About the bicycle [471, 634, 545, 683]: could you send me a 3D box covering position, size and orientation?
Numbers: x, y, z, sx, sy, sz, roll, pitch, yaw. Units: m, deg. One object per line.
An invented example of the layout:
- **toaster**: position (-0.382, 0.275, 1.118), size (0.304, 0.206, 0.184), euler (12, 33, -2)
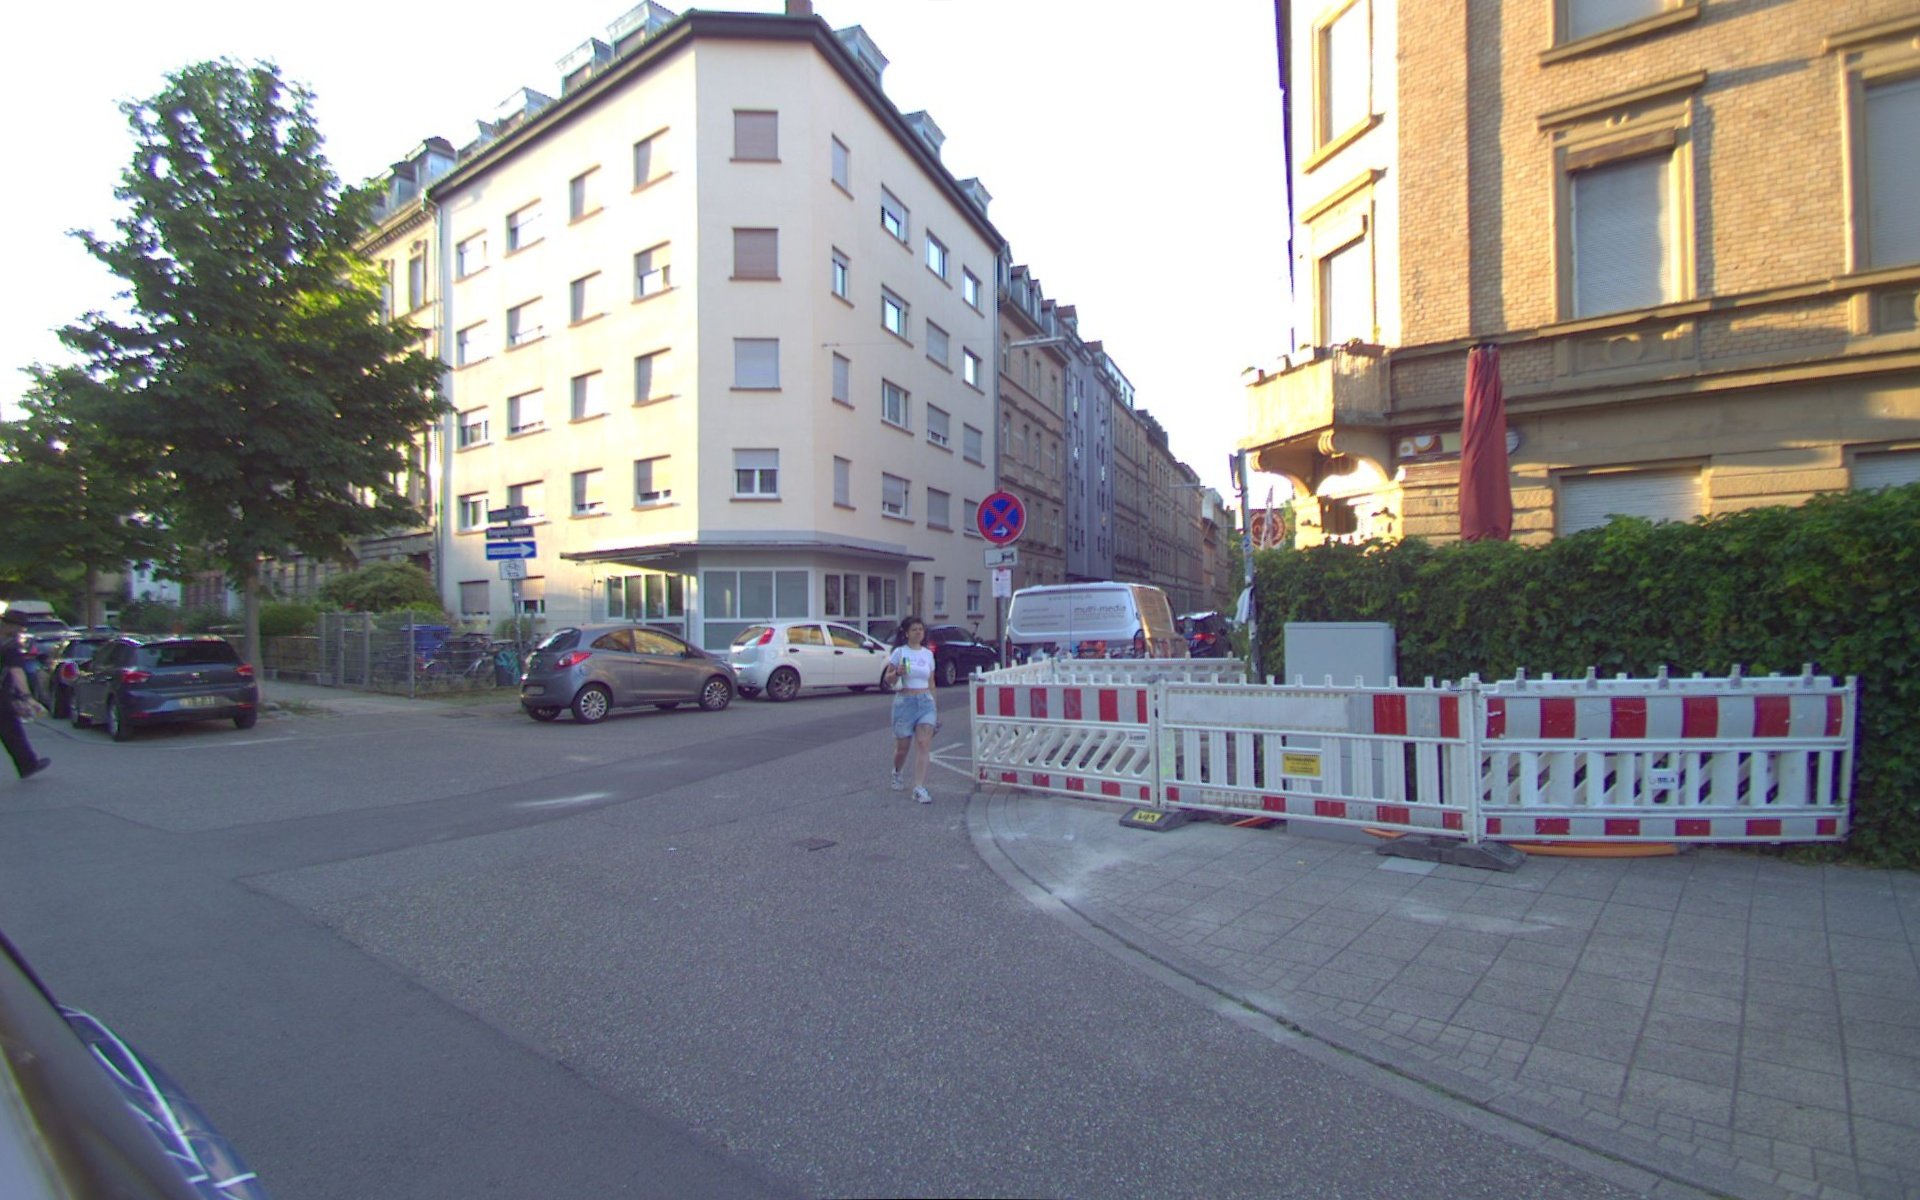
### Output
- **bicycle**: position (-10.639, 1.375, 23.845), size (1.528, 1.100, 0.500), euler (-1, 0, 3)

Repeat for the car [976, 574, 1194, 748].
- **car**: position (2.011, 0.773, 14.437), size (2.190, 1.990, 5.264), euler (-2, -2, 17)

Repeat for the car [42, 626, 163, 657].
- **car**: position (-42.077, 2.028, 49.710), size (1.625, 1.351, 4.356), euler (-2, -1, 41)

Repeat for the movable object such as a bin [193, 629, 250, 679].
- **movable object such as a bin**: position (-21.975, 1.582, 30.109), size (1.549, 1.398, 0.937), euler (-2, 0, 37)

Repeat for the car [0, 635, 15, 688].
- **car**: position (-28.852, 1.778, 29.247), size (4.020, 1.452, 1.711), euler (-1, -1, 39)

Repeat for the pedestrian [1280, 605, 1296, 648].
- **pedestrian**: position (14.046, 1.148, 43.330), size (0.589, 1.820, 0.495), euler (-2, 0, 18)

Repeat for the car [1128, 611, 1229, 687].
- **car**: position (5.067, 1.084, 23.128), size (2.005, 1.583, 3.898), euler (-1, -2, 16)

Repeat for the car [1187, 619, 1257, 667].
- **car**: position (8.480, 1.367, 32.546), size (1.830, 1.438, 3.973), euler (-2, -2, 20)

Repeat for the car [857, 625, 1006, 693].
- **car**: position (-0.570, 1.328, 23.897), size (1.986, 1.450, 4.046), euler (-2, -2, 23)

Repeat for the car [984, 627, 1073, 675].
- **car**: position (2.227, 1.584, 31.939), size (1.859, 1.419, 3.976), euler (-2, -2, 18)

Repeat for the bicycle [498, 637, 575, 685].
- **bicycle**: position (-10.152, 1.465, 24.265), size (1.689, 1.100, 0.384), euler (-1, 0, 4)

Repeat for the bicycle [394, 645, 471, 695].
- **bicycle**: position (-11.609, 1.520, 22.263), size (1.927, 1.033, 0.681), euler (-2, 0, 35)

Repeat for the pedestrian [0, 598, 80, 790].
- **pedestrian**: position (-9.116, 0.864, 9.486), size (0.881, 1.735, 0.956), euler (-1, 0, 8)

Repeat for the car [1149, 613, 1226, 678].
- **car**: position (6.274, 1.203, 27.633), size (1.572, 1.635, 3.973), euler (-2, -2, 20)

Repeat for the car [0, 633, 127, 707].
- **car**: position (-20.046, 1.456, 22.259), size (4.586, 1.423, 1.843), euler (-2, -1, 40)

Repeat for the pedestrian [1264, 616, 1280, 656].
- **pedestrian**: position (13.432, 1.531, 43.574), size (0.589, 1.699, 0.495), euler (-2, 0, 18)

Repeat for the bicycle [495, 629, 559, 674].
- **bicycle**: position (-11.531, 1.363, 27.001), size (0.499, 1.100, 1.531), euler (-2, 0, 34)

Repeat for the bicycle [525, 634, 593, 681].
- **bicycle**: position (-10.411, 1.474, 26.308), size (0.499, 1.100, 1.617), euler (-2, 0, 34)

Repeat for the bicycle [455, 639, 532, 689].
- **bicycle**: position (-10.750, 1.471, 23.332), size (1.528, 1.100, 0.500), euler (-1, 0, 3)

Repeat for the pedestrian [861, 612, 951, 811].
- **pedestrian**: position (-0.456, 0.929, 8.797), size (0.702, 1.630, 0.786), euler (-1, 0, 0)

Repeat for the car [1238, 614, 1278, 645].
- **car**: position (16.048, 1.567, 54.317), size (1.875, 1.569, 3.975), euler (-2, -2, 19)

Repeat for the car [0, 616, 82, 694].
- **car**: position (-23.804, 1.332, 25.472), size (4.619, 1.792, 1.843), euler (-2, -1, 40)

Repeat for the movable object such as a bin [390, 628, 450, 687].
- **movable object such as a bin**: position (-13.227, 1.385, 24.799), size (1.398, 1.362, 0.857), euler (-2, 0, 42)

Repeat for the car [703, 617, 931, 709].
- **car**: position (-2.788, 1.170, 20.107), size (4.007, 1.520, 1.978), euler (-1, 0, -37)

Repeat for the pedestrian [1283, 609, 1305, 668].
- **pedestrian**: position (9.810, 1.126, 29.732), size (0.589, 1.699, 0.495), euler (-2, 0, 18)

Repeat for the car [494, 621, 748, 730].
- **car**: position (-5.431, 1.151, 16.491), size (1.843, 1.519, 3.471), euler (-3, -2, 39)

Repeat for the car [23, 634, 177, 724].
- **car**: position (-16.068, 1.371, 18.835), size (4.142, 1.431, 1.723), euler (-2, -1, 43)

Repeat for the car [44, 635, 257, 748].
- **car**: position (-12.584, 1.299, 15.636), size (4.458, 1.473, 1.658), euler (-1, -1, 39)
